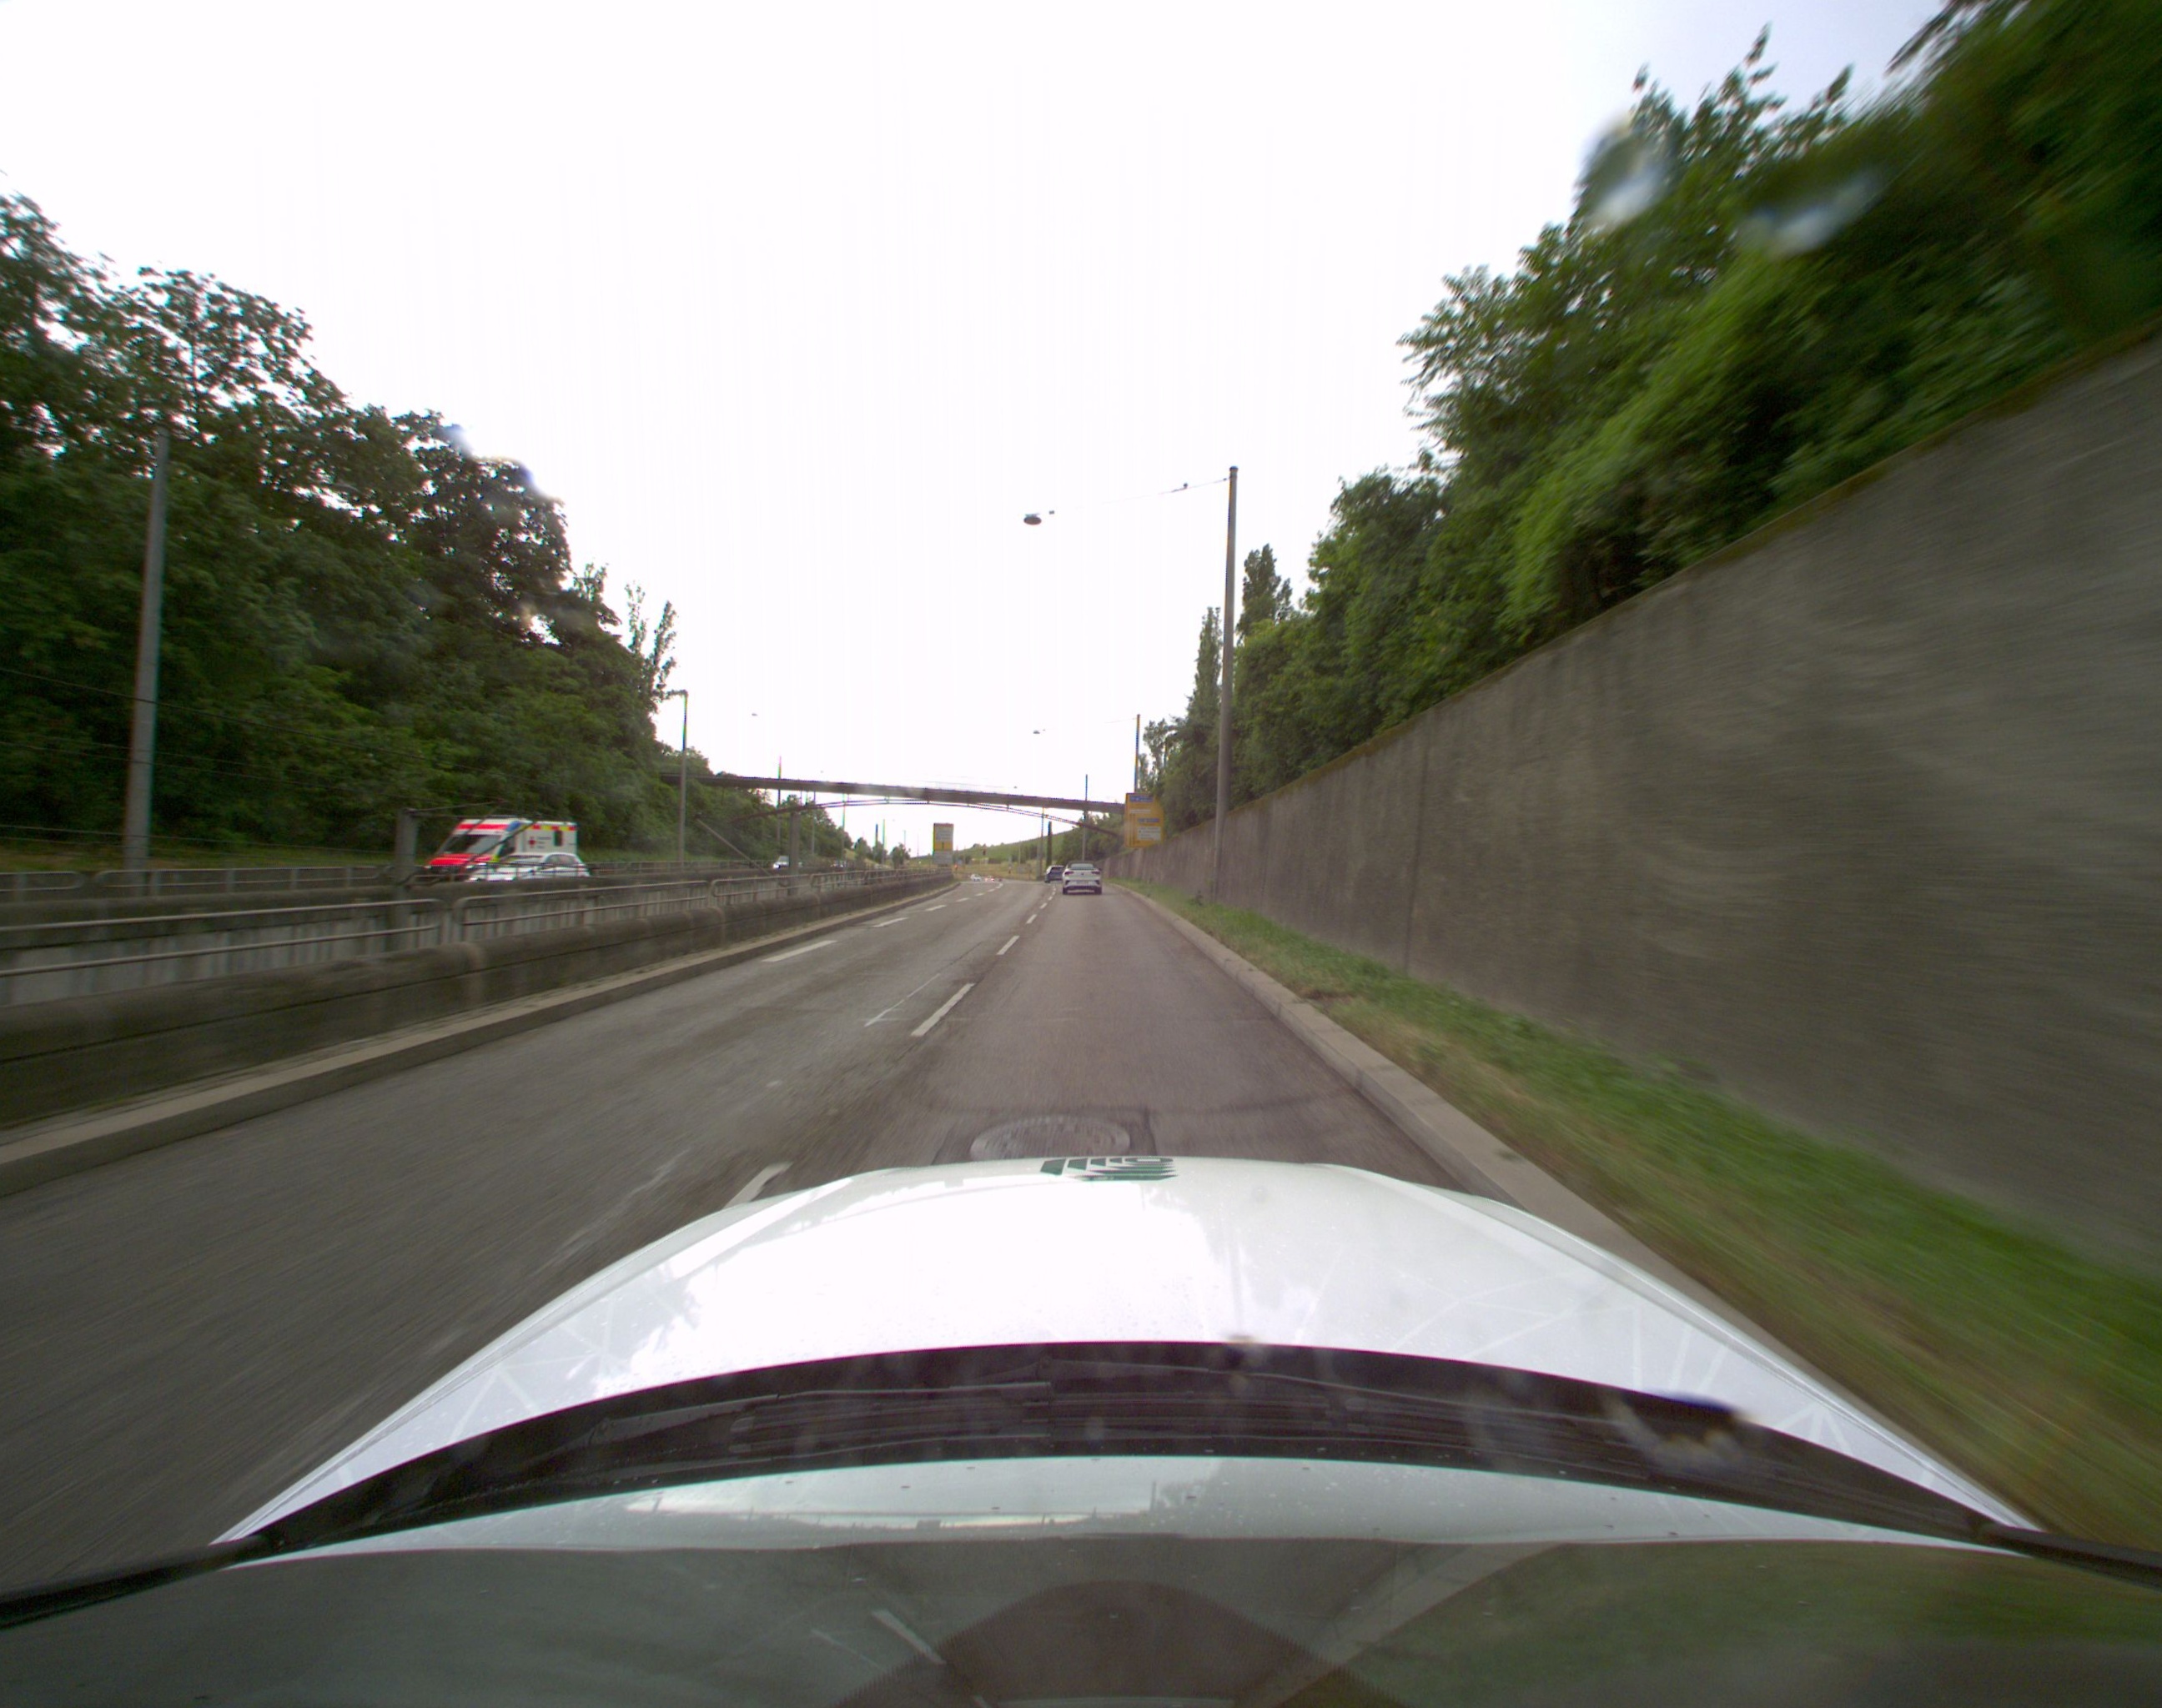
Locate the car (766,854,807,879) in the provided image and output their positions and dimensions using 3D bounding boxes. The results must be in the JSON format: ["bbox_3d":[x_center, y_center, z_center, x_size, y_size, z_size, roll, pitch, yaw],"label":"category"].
[{"bbox_3d":[-21.579,0.934,59.802,1.960,1.750,4.130,-1,-1,-8],"label":"car"}]

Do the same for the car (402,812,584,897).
[{"bbox_3d":[-21.004,0.058,29.590,2.177,2.734,6.339,-1,-1,-2],"label":"car"}]

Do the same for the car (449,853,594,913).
[{"bbox_3d":[-17.527,0.876,25.785,1.813,1.704,4.107,-1,-1,-2],"label":"car"}]

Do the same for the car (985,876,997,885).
[{"bbox_3d":[-17.096,5.075,155.080,1.768,1.519,3.725,3,-3,2],"label":"car"}]

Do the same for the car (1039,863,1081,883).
[{"bbox_3d":[-1.756,1.618,69.521,1.909,1.599,4.084,-1,0,24],"label":"car"}]

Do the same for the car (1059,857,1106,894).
[{"bbox_3d":[0.018,0.959,38.083,1.991,1.578,4.122,-1,0,-2],"label":"car"}]
